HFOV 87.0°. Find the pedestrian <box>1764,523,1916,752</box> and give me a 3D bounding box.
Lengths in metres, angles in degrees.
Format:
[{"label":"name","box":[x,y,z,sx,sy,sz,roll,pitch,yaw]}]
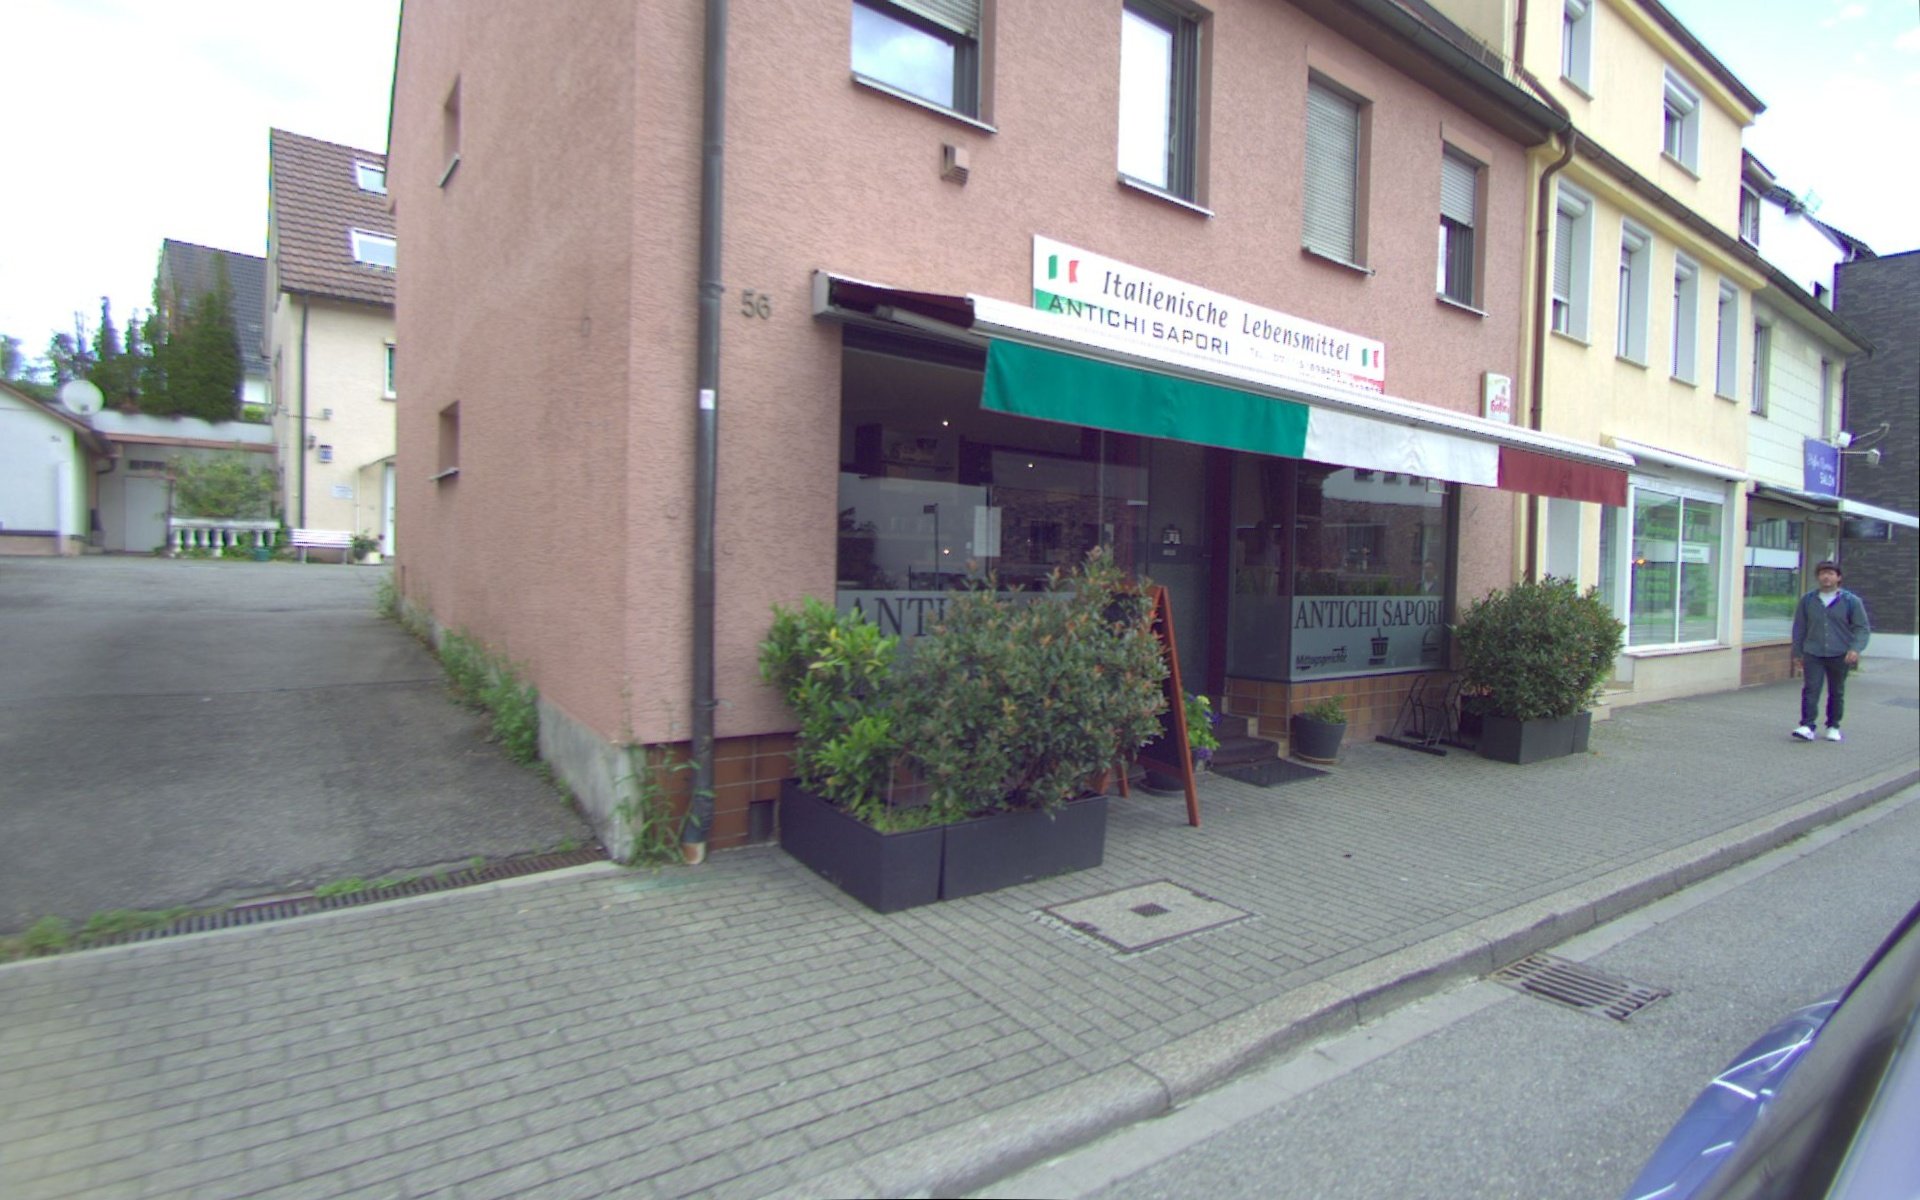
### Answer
[{"label":"pedestrian","box":[8.680,0.322,9.986,0.993,2.099,0.826,0,5,-39]}]
